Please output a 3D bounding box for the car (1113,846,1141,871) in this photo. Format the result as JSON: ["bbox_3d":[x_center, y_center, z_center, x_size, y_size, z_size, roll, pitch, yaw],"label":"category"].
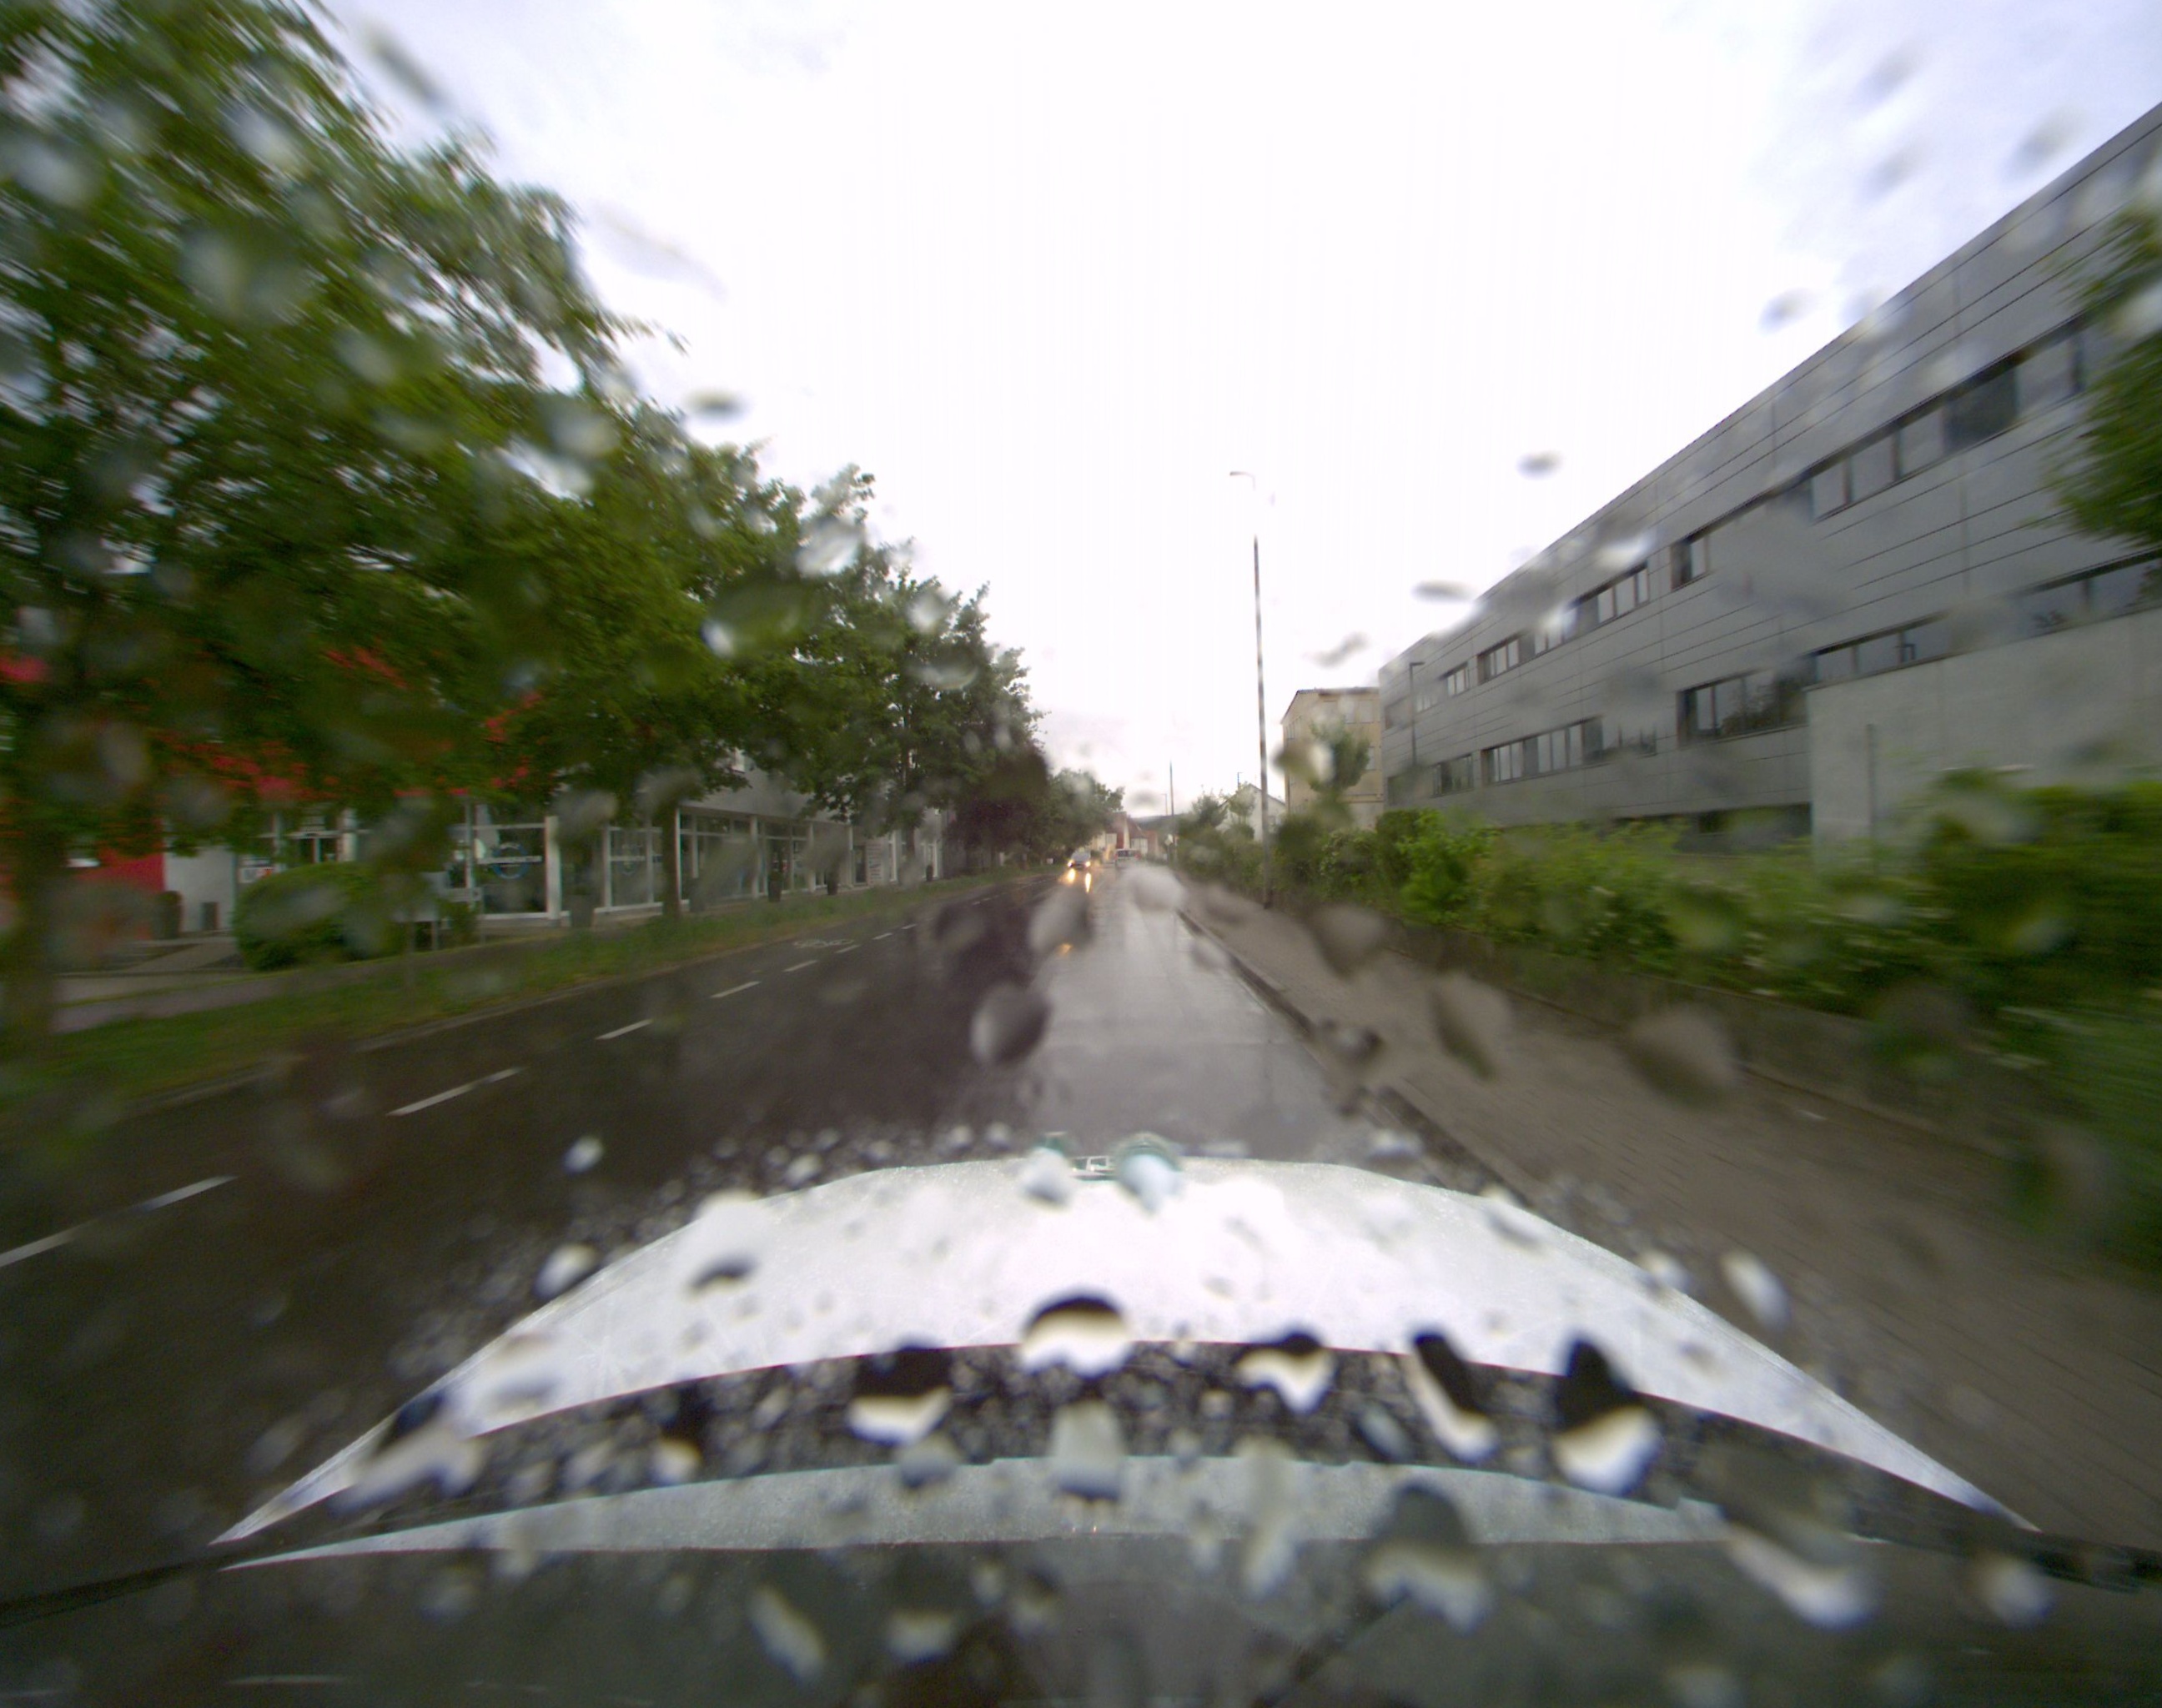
[{"bbox_3d":[3.652,0.345,65.644,2.109,1.888,4.504,-1,1,1],"label":"car"}]

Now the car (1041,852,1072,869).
[{"bbox_3d":[-2.446,0.645,82.506,2.895,1.455,1.254,-3,-3,4],"label":"car"}]

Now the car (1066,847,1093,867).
[{"bbox_3d":[-0.115,0.215,65.662,1.842,1.554,4.507,-1,1,4],"label":"car"}]

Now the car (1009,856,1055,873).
[{"bbox_3d":[-4.452,0.943,73.975,3.882,1.284,1.584,-3,-1,4],"label":"car"}]
